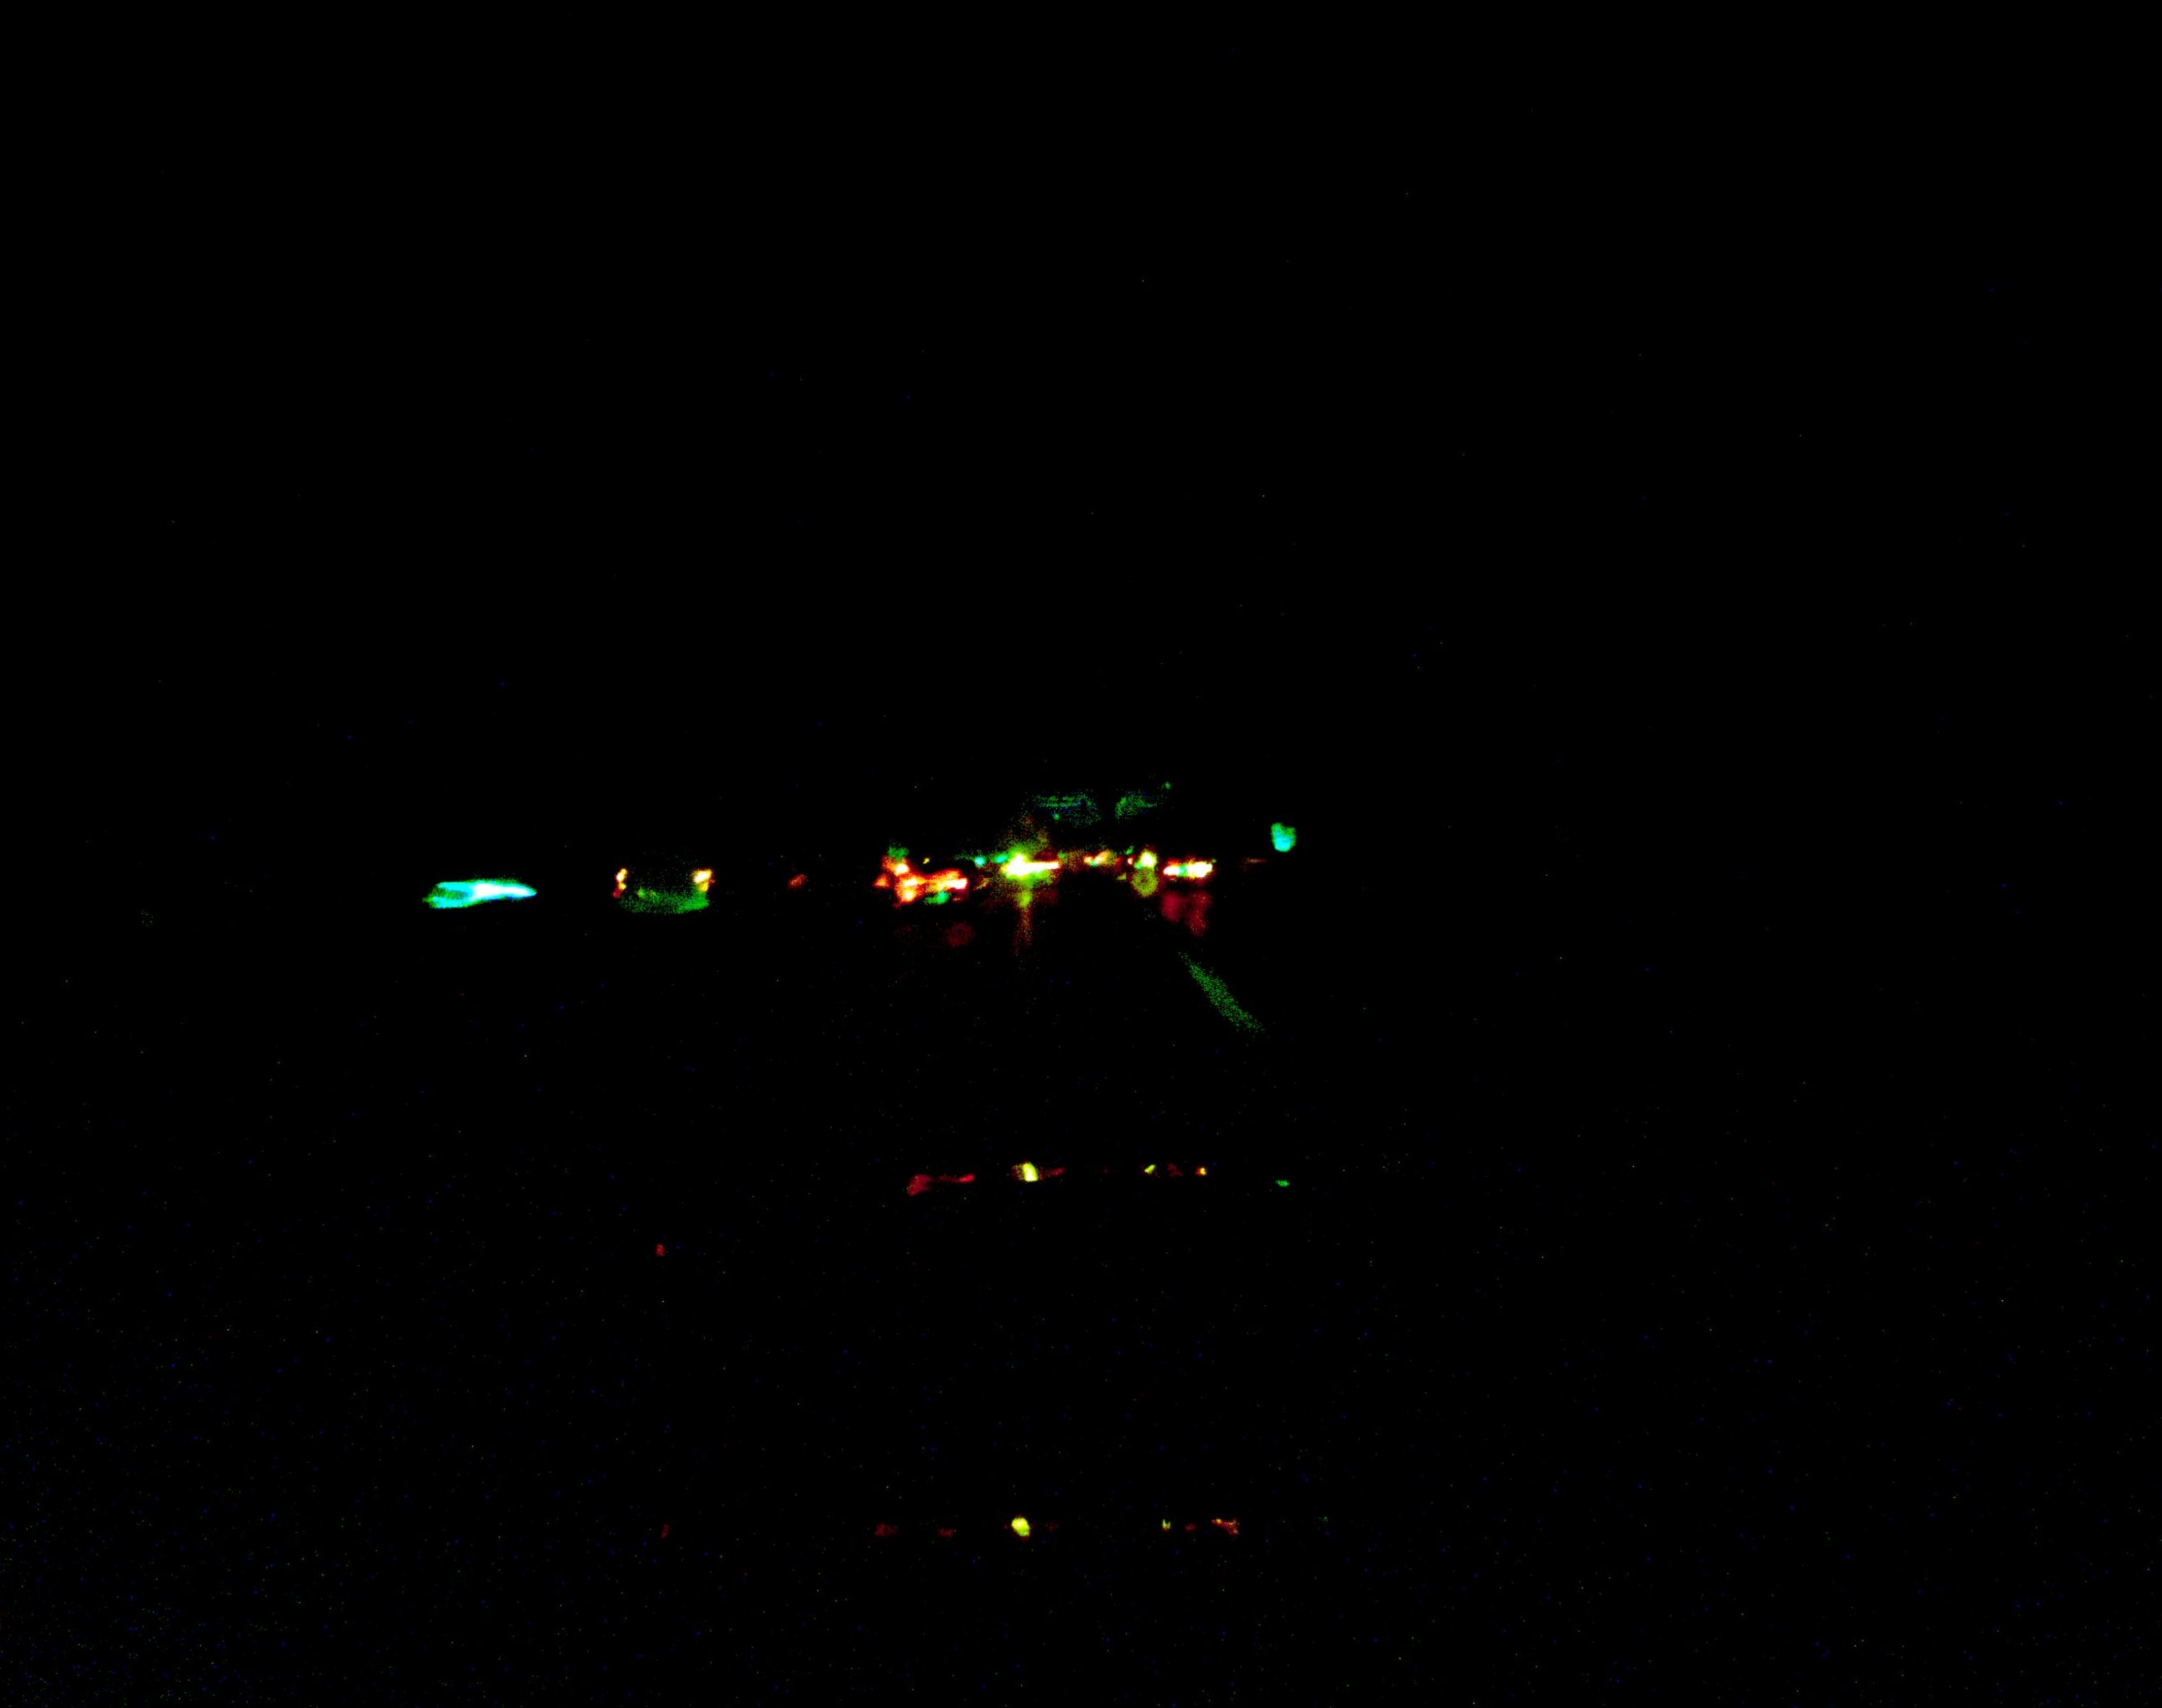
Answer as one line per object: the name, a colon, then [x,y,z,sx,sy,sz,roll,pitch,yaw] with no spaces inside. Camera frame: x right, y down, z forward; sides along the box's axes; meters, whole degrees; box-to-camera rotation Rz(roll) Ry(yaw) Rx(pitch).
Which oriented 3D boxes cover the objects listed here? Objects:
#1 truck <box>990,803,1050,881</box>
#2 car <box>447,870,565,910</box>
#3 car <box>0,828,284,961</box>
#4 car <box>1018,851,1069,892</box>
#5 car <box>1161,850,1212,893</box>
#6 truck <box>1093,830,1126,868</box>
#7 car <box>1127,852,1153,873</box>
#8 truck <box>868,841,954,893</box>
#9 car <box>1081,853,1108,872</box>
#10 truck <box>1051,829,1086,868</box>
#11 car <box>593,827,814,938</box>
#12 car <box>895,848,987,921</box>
truck: [-3.934,-0.732,54.609,3.647,4.737,9.843,0,0,-3]
car: [-23.819,1.452,33.970,1.800,1.517,4.349,0,0,0]
car: [-20.276,0.751,17.223,1.962,2.401,4.846,0,0,1]
car: [-1.698,0.783,37.961,2.031,1.761,4.517,0,0,1]
car: [4.527,0.735,35.444,1.870,1.762,4.002,0,0,2]
truck: [3.984,-0.701,116.298,4.150,5.215,9.949,0,0,-1]
car: [4.970,0.716,68.705,1.986,1.704,4.460,0,0,2]
truck: [-7.796,0.578,38.026,2.849,2.201,5.855,0,0,-1]
car: [1.485,0.909,88.014,2.822,2.014,5.513,0,0,2]
truck: [-1.749,-0.705,117.942,4.236,5.444,10.893,0,0,3]
car: [-8.208,0.549,18.505,2.114,2.104,5.634,-1,0,3]
car: [-3.531,0.691,21.170,1.761,1.689,3.998,-1,0,-1]
